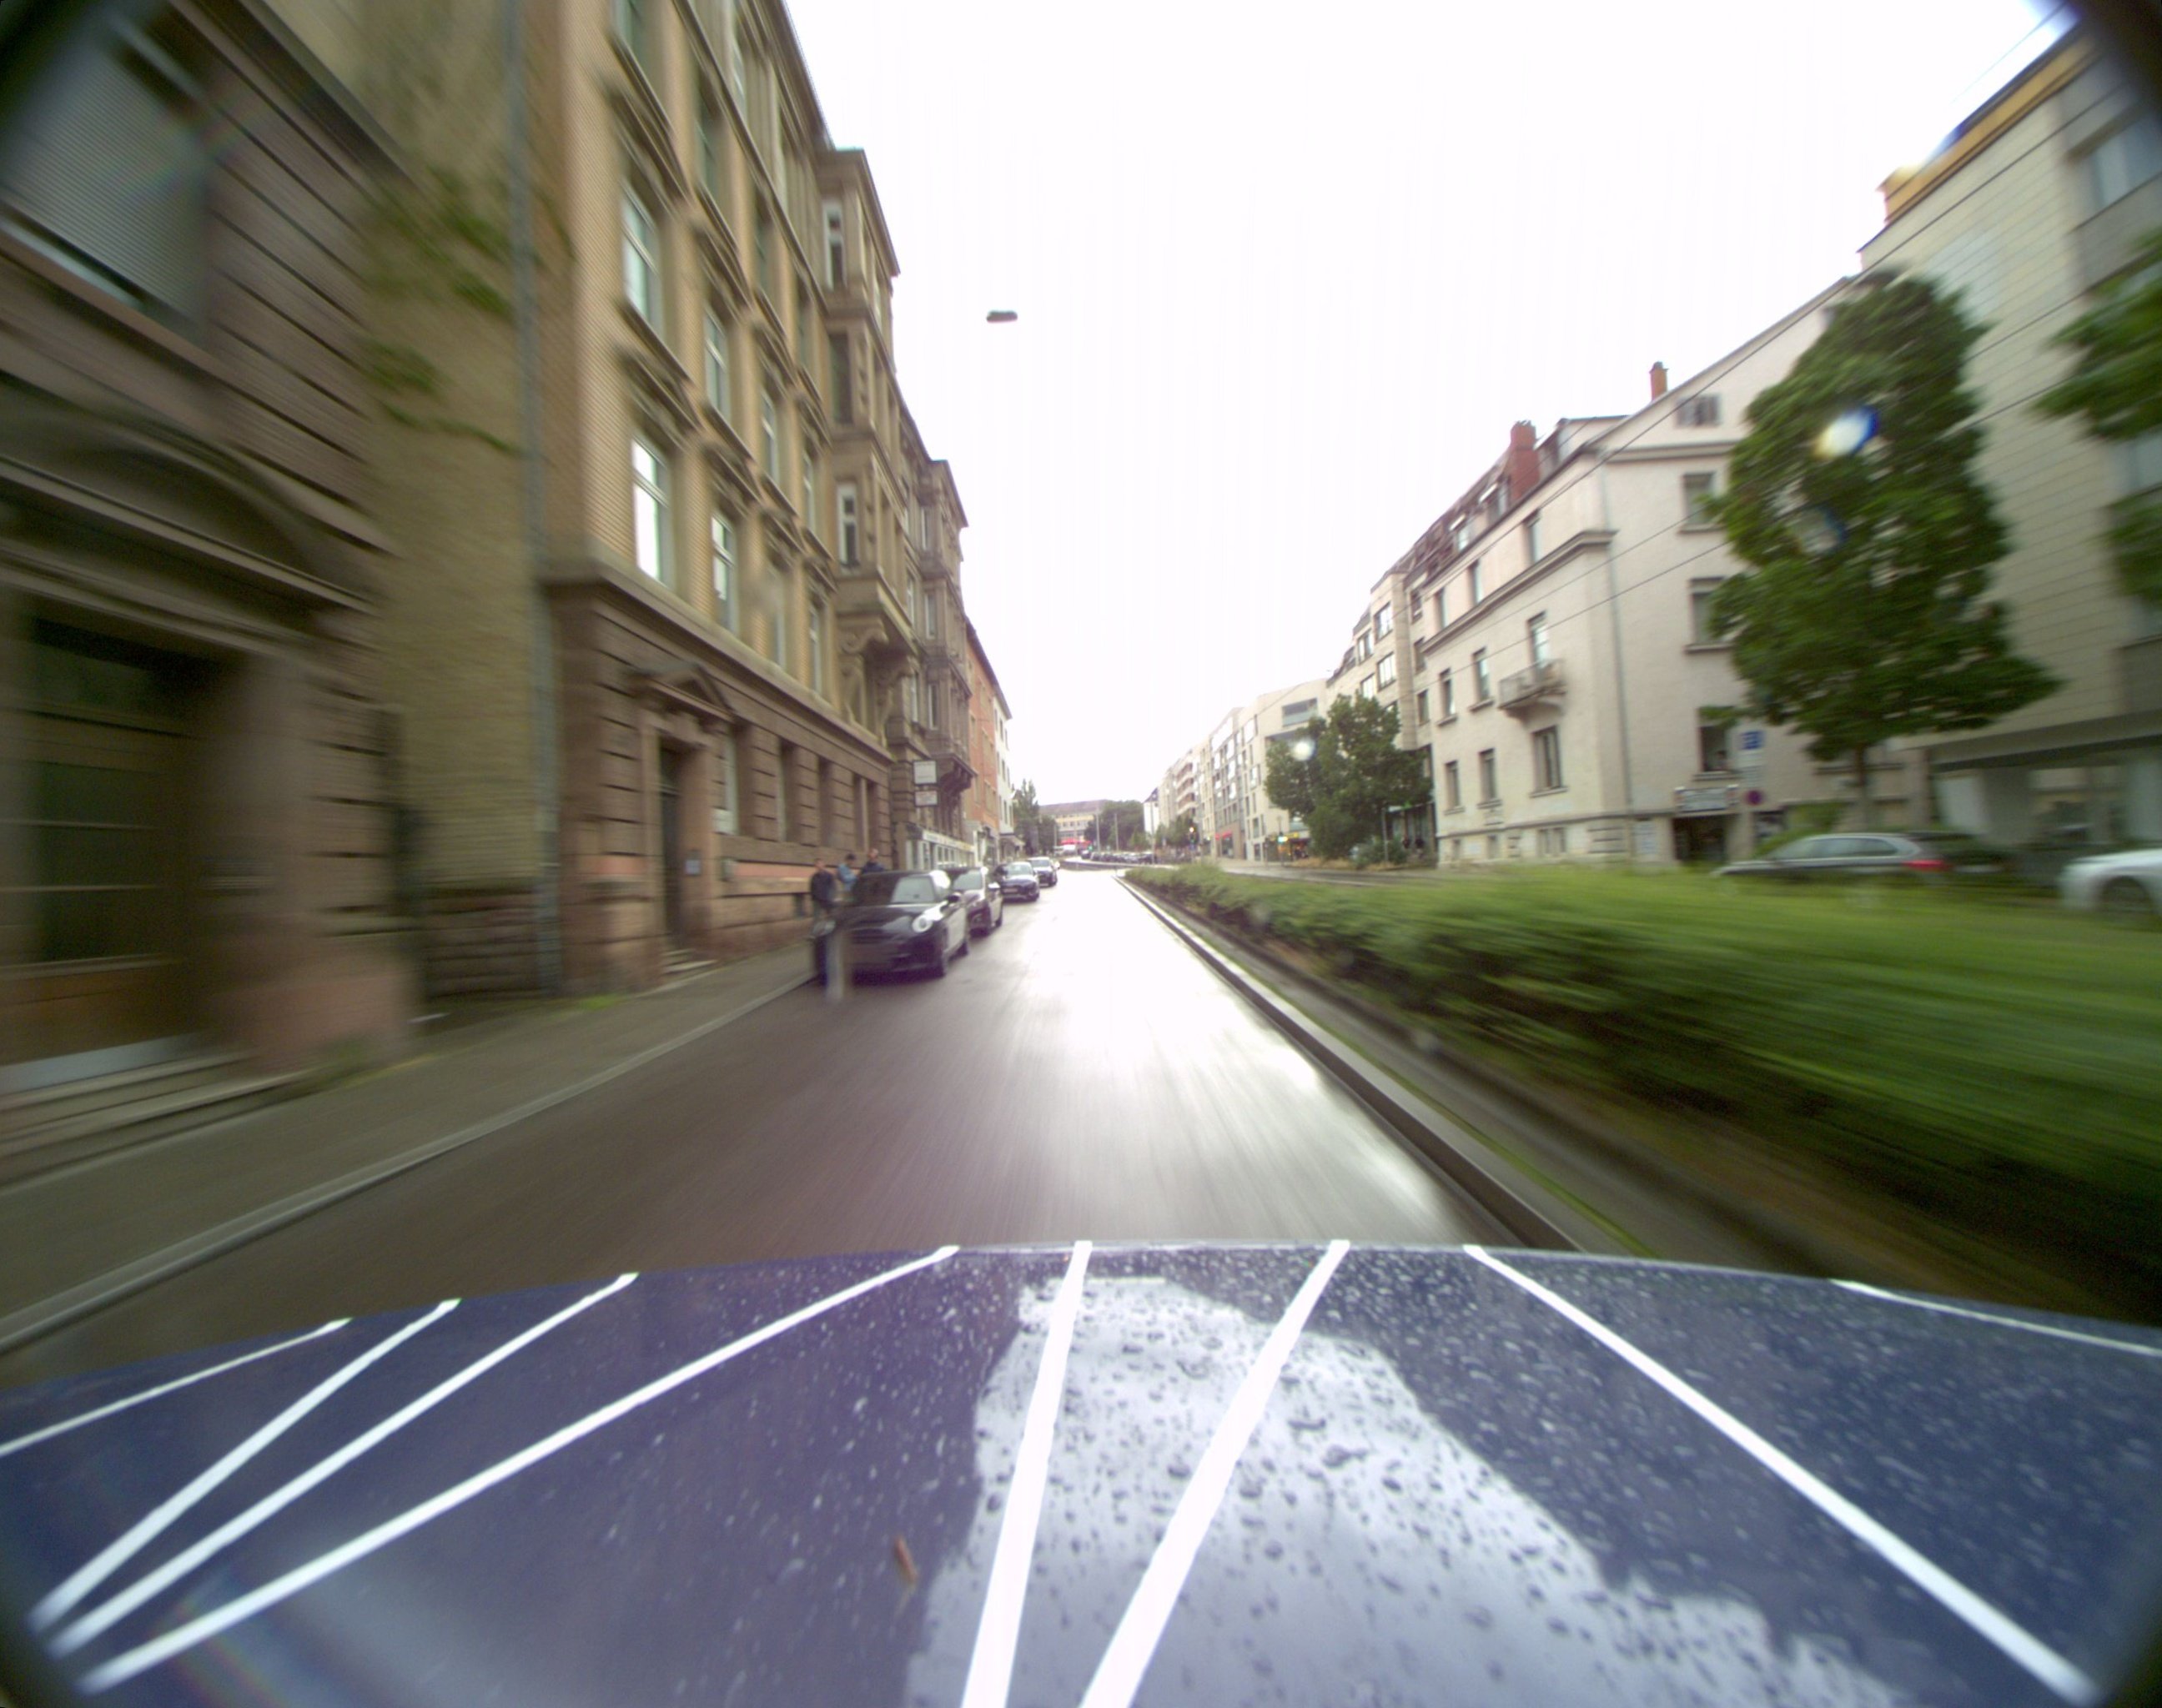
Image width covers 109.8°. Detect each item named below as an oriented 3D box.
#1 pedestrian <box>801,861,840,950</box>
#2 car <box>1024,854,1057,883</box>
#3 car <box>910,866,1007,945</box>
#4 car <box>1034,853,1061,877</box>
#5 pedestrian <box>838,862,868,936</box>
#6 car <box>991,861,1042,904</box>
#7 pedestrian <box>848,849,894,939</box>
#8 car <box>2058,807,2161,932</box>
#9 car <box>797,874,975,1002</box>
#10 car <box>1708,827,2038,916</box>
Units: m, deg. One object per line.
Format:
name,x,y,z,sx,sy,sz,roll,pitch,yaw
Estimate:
pedestrian,-4.957,0.963,14.492,0.489,1.635,0.630,-2,1,-4
car,-2.240,0.802,43.048,1.588,1.443,3.977,-3,1,0
car,-2.638,1.067,17.120,1.588,1.405,3.828,-3,1,-1
car,-2.216,0.712,51.241,1.588,1.443,3.977,-3,1,0
pedestrian,-5.169,1.001,17.223,0.485,1.635,0.463,-2,1,-4
car,-2.365,1.018,28.538,1.588,1.343,3.977,-3,1,-1
pedestrian,-4.241,0.784,15.404,0.653,1.752,0.882,-2,1,-4
car,14.667,0.181,8.568,1.662,1.575,4.337,-3,1,-1
car,-2.633,1.064,11.136,1.628,1.343,3.828,-3,1,-1
car,14.632,0.258,14.509,1.718,1.367,4.457,-3,1,2
